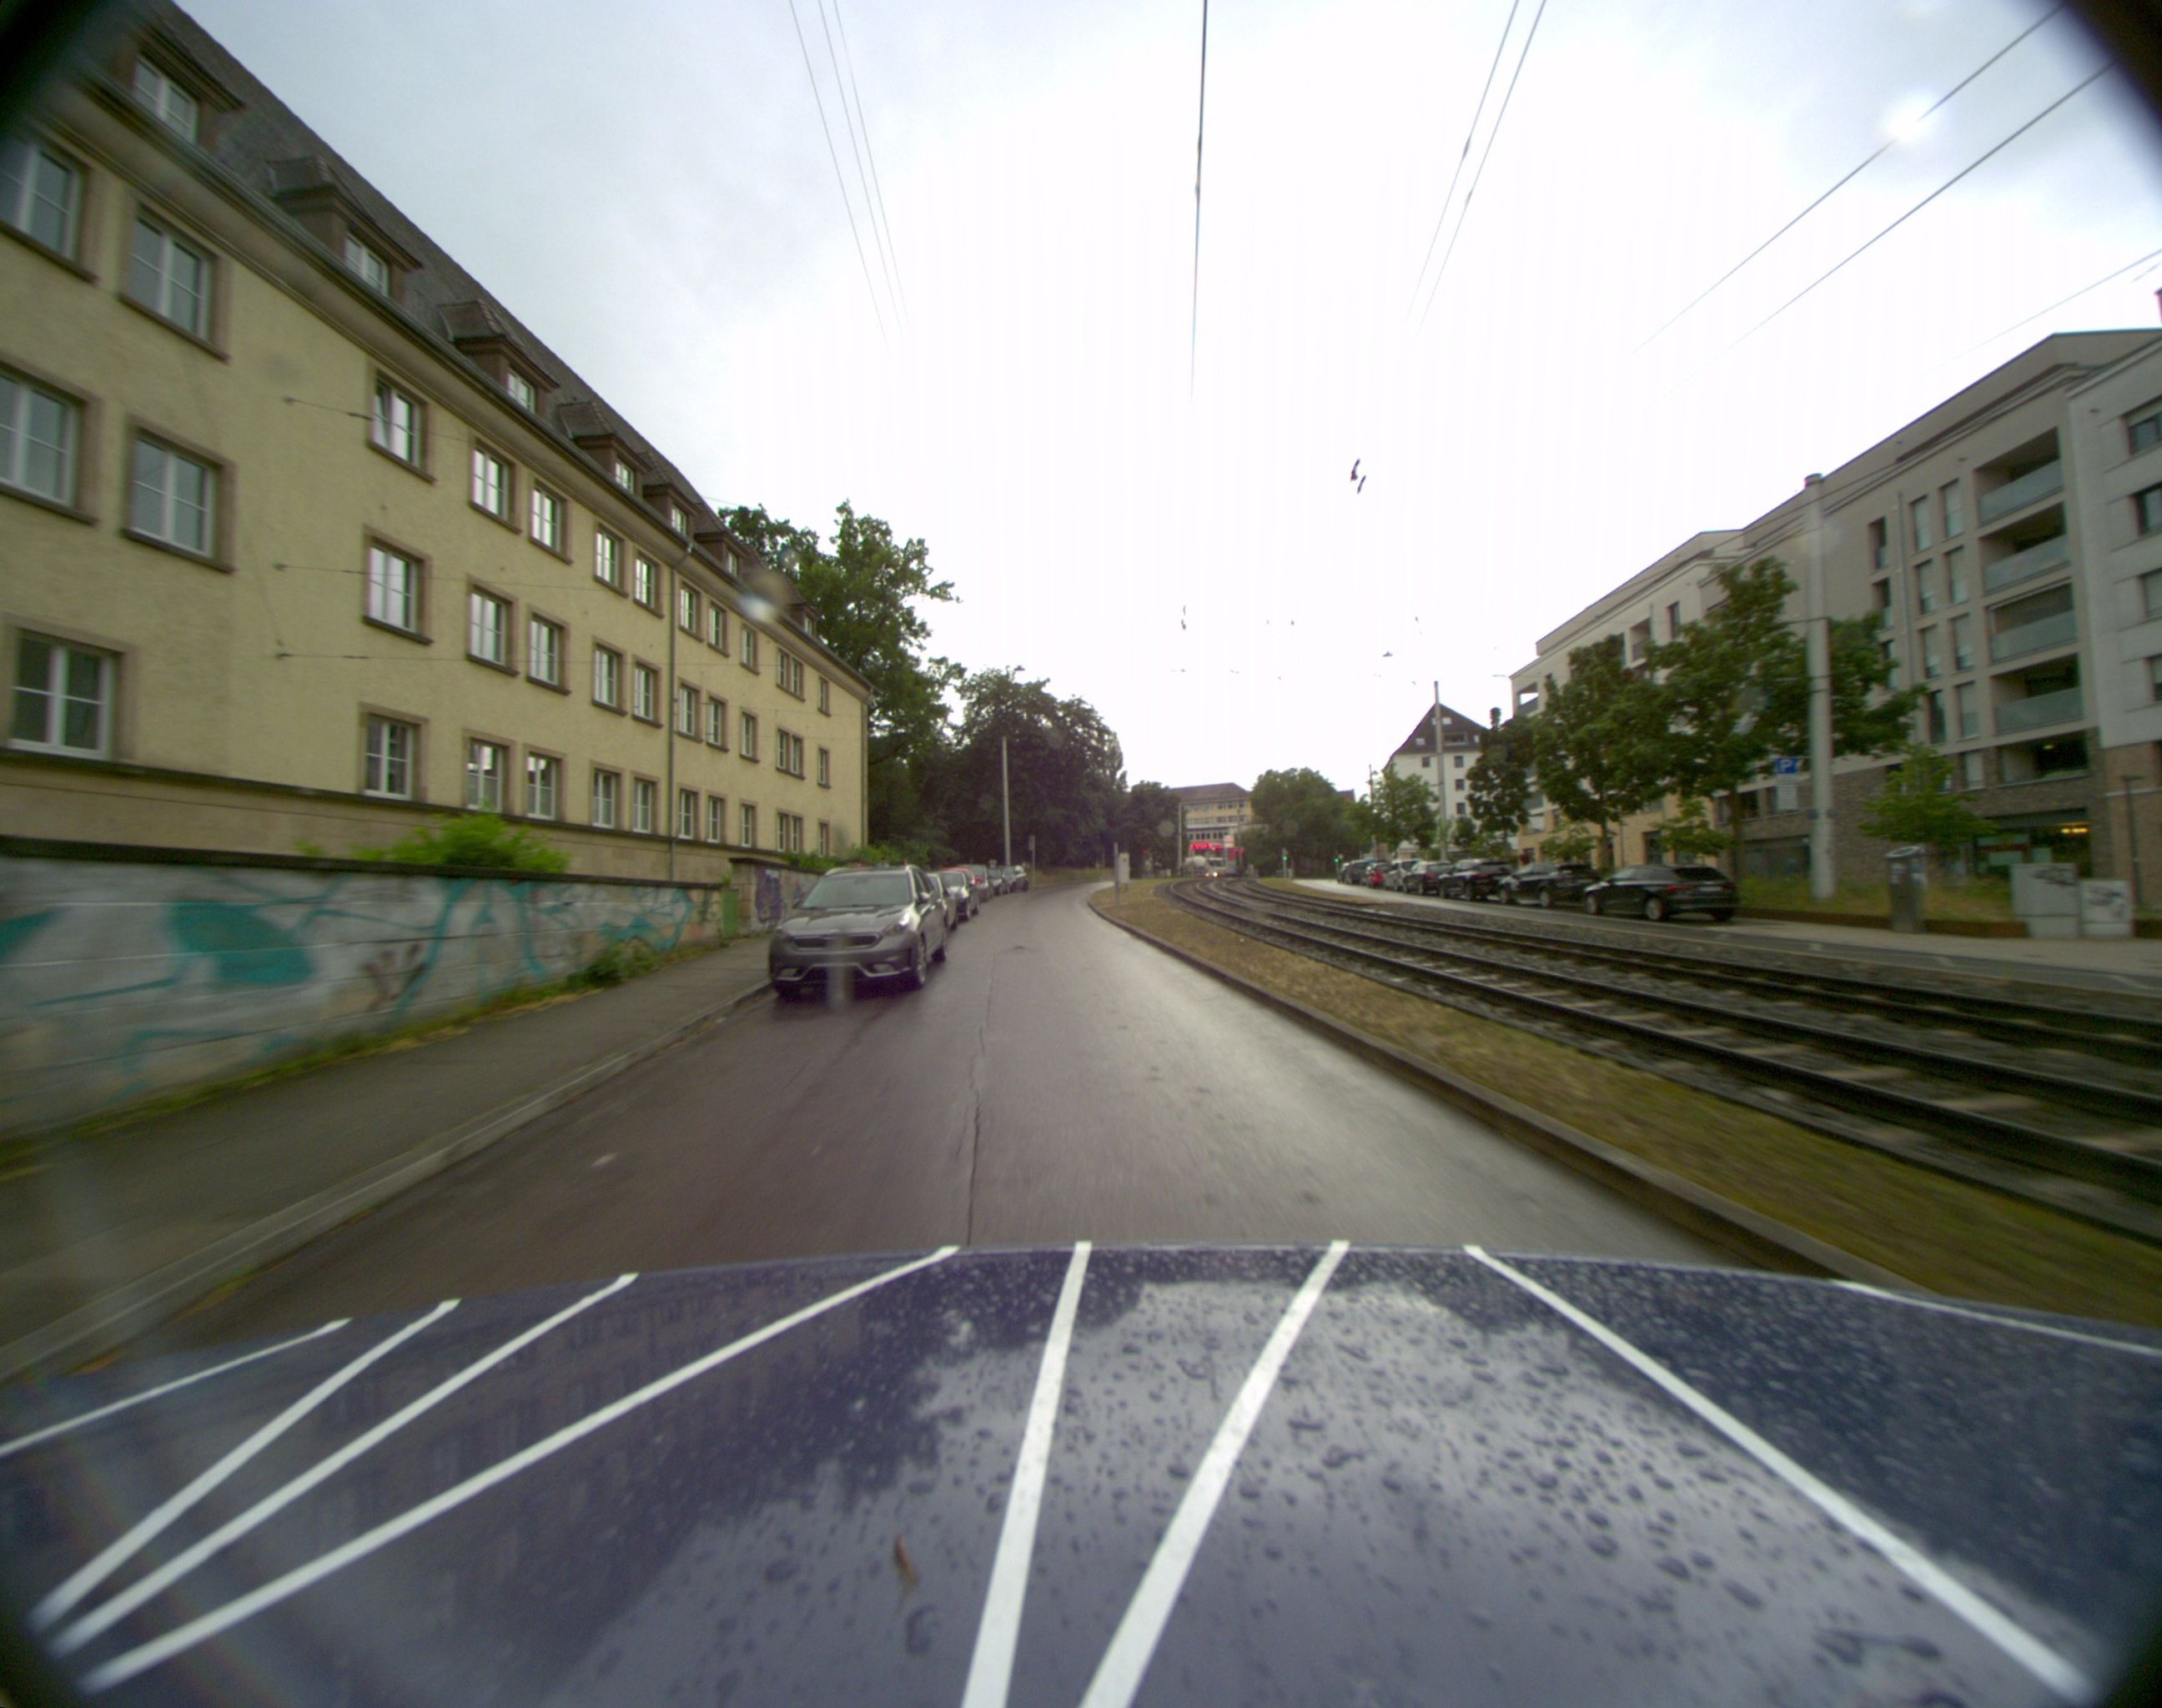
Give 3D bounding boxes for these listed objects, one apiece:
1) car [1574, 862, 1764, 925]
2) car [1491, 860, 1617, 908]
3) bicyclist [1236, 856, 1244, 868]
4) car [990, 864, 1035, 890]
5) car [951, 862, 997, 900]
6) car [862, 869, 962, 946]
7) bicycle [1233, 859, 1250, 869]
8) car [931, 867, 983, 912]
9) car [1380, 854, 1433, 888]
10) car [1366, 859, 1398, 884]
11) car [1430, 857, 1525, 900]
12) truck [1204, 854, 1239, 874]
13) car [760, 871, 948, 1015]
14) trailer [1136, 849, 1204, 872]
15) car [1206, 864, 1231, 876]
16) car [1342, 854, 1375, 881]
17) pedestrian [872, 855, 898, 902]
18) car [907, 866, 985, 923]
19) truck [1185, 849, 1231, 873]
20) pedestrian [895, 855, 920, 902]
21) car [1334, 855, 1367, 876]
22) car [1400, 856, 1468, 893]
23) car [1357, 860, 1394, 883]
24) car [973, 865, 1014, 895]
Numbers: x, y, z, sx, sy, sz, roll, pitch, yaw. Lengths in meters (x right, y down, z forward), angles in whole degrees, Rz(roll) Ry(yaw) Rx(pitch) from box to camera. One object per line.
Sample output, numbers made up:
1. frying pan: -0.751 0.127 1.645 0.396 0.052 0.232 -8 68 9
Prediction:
1. car: 15.441 0.975 20.286 1.970 1.422 4.200 -2 0 3
2. car: 16.111 0.975 26.159 1.741 1.480 4.258 -2 0 1
3. bicyclist: 17.352 0.903 82.948 0.799 1.287 0.595 -1 2 6
4. car: -3.905 1.281 43.382 1.599 1.457 2.725 0 0 18
5. car: -4.666 1.161 33.629 1.670 1.564 3.855 1 0 -3
6. car: -3.670 1.109 17.142 1.670 1.468 4.107 1 0 -5
7. bicycle: 17.542 1.104 82.931 1.709 1.133 0.626 -1 0 7
8. car: -4.525 1.239 28.166 1.670 1.468 4.064 -1 0 -6
9. car: 18.074 0.915 42.374 1.666 1.737 4.260 -1 0 9
10. car: 18.667 1.067 47.179 1.471 1.522 2.935 -1 -1 15
11. car: 16.140 0.952 31.216 1.806 1.574 4.701 -1 0 6
12. truck: 25.817 1.879 139.225 2.655 3.548 10.277 -1 -1 33
13. car: -2.914 1.047 10.639 1.670 1.515 4.107 -2 0 -5
14. trailer: 13.424 1.013 115.320 9.810 3.375 2.819 -1 -1 29
15. car: 18.087 2.130 100.031 1.885 1.482 3.857 0 0 32
16. car: 20.653 0.970 56.736 1.584 1.848 4.337 -3 -1 11
17. pedestrian: -7.415 0.907 28.738 0.719 1.744 0.739 0 0 6
18. car: -3.905 1.128 22.593 1.670 1.468 4.456 1 0 -2
19. truck: 18.714 1.046 112.375 6.108 3.379 2.843 -1 -1 30
20. pedestrian: -6.541 0.908 28.659 0.719 1.744 0.739 0 0 6
21. car: 21.755 0.898 61.482 1.997 1.595 4.219 -1 0 12
22. car: 16.906 0.941 36.642 1.735 1.634 4.535 -2 -1 8
23. car: 19.922 1.132 51.529 1.553 1.438 4.404 -2 -1 11
24. car: -4.493 1.313 39.415 1.539 1.408 3.645 0 0 3
